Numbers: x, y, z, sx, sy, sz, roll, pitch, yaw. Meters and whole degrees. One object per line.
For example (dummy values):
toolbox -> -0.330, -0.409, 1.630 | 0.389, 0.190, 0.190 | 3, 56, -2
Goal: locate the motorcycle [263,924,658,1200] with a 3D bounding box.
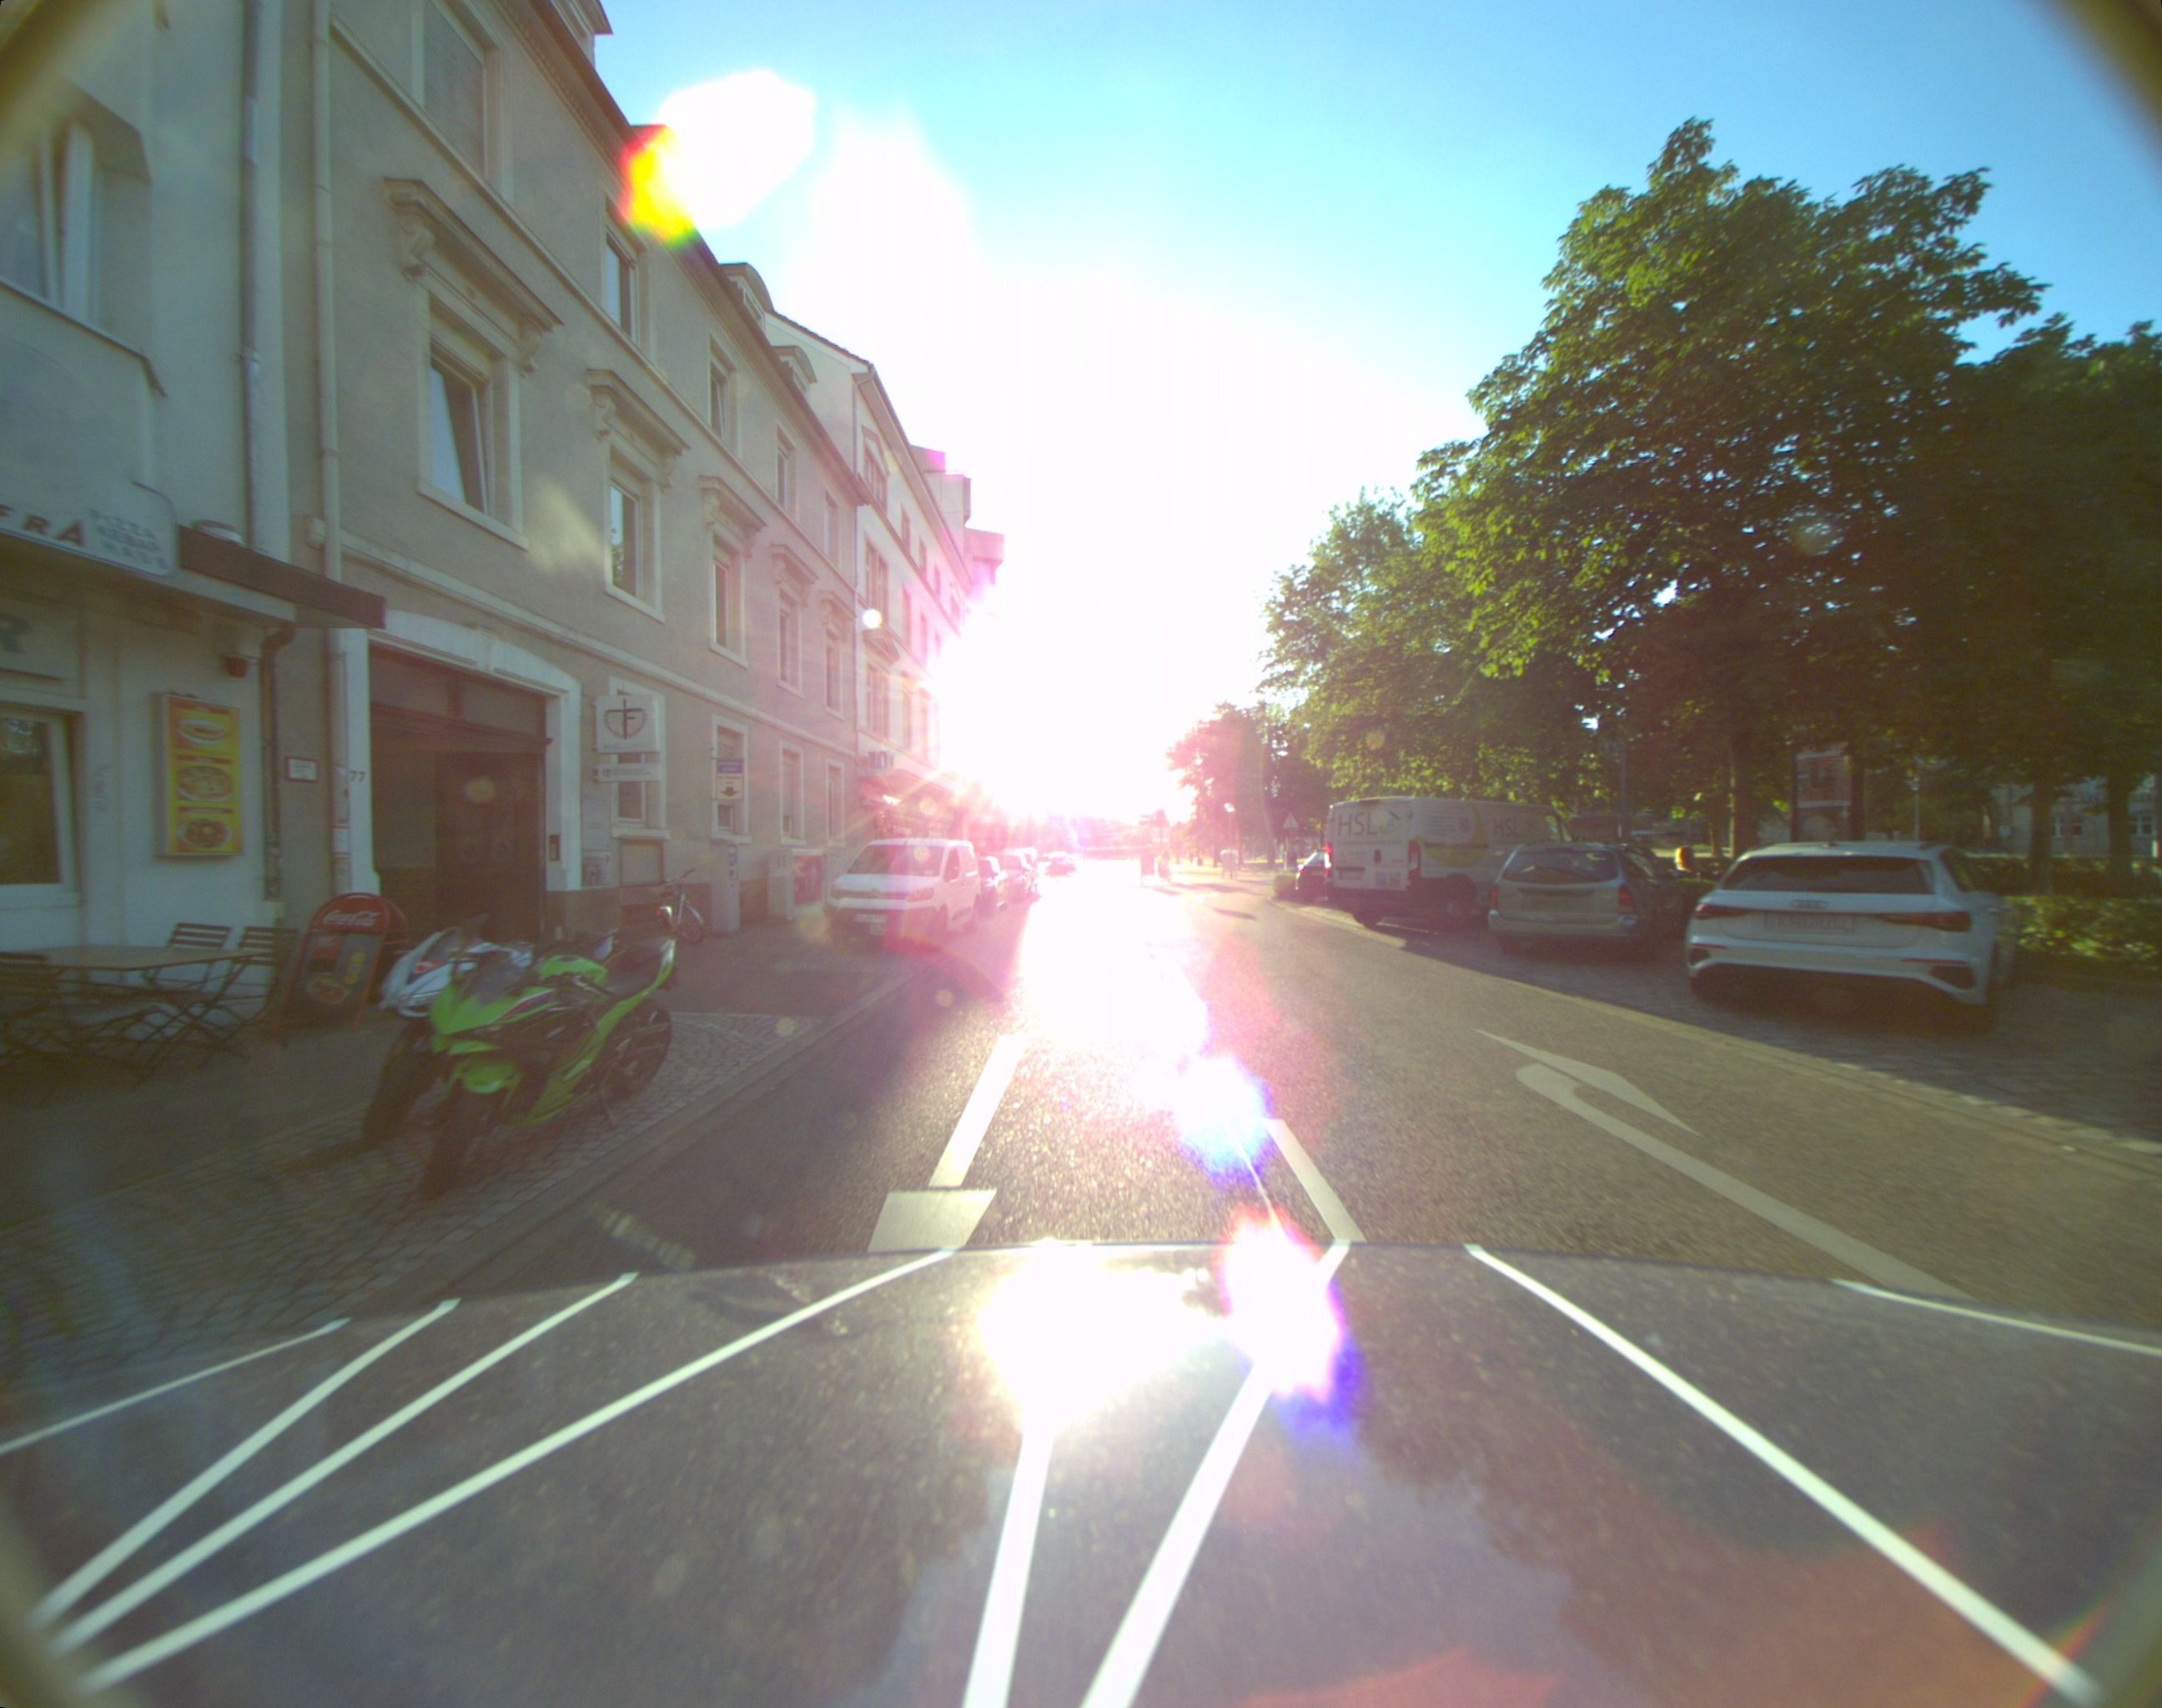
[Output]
motorcycle -> -3.576, 1.095, 4.730 | 0.589, 1.116, 2.210 | -1, 0, 1

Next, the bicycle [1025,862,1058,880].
bicycle -> -2.258, 0.956, 42.985 | 1.789, 0.984, 0.543 | 2, -1, 24

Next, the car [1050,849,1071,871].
car -> -1.799, 0.535, 68.151 | 1.788, 1.794, 4.401 | -2, 0, 0

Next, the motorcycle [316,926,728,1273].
motorcycle -> -2.771, 1.096, 4.172 | 0.589, 1.193, 2.210 | 1, 0, 1

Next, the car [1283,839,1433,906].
car -> 7.476, 0.446, 20.422 | 3.890, 1.573, 1.798 | -2, 1, -33

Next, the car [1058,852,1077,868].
car -> -1.288, 0.563, 73.475 | 1.645, 1.519, 4.001 | -2, 0, 2

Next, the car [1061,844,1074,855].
car -> -1.918, -0.603, 109.952 | 1.654, 1.525, 4.066 | -2, 0, 0

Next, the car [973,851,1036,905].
car -> -2.530, 0.758, 25.960 | 1.661, 1.655, 4.108 | -2, 0, 1

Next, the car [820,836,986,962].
car -> -2.922, 0.681, 13.471 | 1.714, 1.824, 4.306 | -2, 0, 2

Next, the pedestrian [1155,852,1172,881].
pedestrian -> 3.919, 0.587, 35.910 | 0.613, 1.356, 0.565 | -2, 0, 23

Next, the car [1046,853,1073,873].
car -> -1.638, 0.677, 59.505 | 1.794, 1.499, 3.921 | -2, 0, 2

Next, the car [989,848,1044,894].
car -> -2.624, 0.659, 31.576 | 1.797, 1.781, 4.092 | -1, 0, 2

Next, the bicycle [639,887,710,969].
bicycle -> -5.944, 1.042, 11.184 | 0.456, 1.006, 1.710 | -2, 1, -13

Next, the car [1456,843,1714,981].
car -> 6.985, 0.644, 10.374 | 4.008, 1.459, 1.878 | -2, 0, -40

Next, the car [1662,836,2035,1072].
car -> 7.126, 0.649, 6.939 | 4.007, 1.483, 1.845 | -2, 1, -37

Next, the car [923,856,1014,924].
car -> -2.794, 0.854, 19.660 | 1.671, 1.535, 3.883 | -2, 0, 1

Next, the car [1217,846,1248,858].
car -> 36.692, -0.484, 183.670 | 7.209, 2.860, 2.305 | -1, 0, -21

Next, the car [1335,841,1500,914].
car -> 7.940, 0.491, 17.798 | 4.007, 1.478, 1.828 | -2, 0, -38

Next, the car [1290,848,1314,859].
car -> 41.290, -0.121, 141.922 | 1.914, 2.002, 3.991 | -2, 0, -29

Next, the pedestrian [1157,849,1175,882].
pedestrian -> 4.156, 0.552, 36.962 | 0.693, 1.550, 0.700 | -2, 0, 19

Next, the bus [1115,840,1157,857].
bus -> 12.592, -1.212, 174.858 | 3.765, 3.342, 13.689 | -2, 0, -22

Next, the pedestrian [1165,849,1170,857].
pedestrian -> 15.999, -0.220, 140.328 | 0.672, 1.450, 0.699 | -2, 0, -3

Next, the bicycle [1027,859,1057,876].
bicycle -> -2.404, 0.813, 47.196 | 1.791, 0.984, 0.542 | 2, -1, 6

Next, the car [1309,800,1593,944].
car -> 6.725, 0.215, 13.808 | 4.619, 2.238, 2.198 | -2, 1, -25

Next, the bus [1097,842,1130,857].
bus -> 7.875, -0.982, 186.123 | 3.765, 3.311, 10.717 | -2, 0, -23
